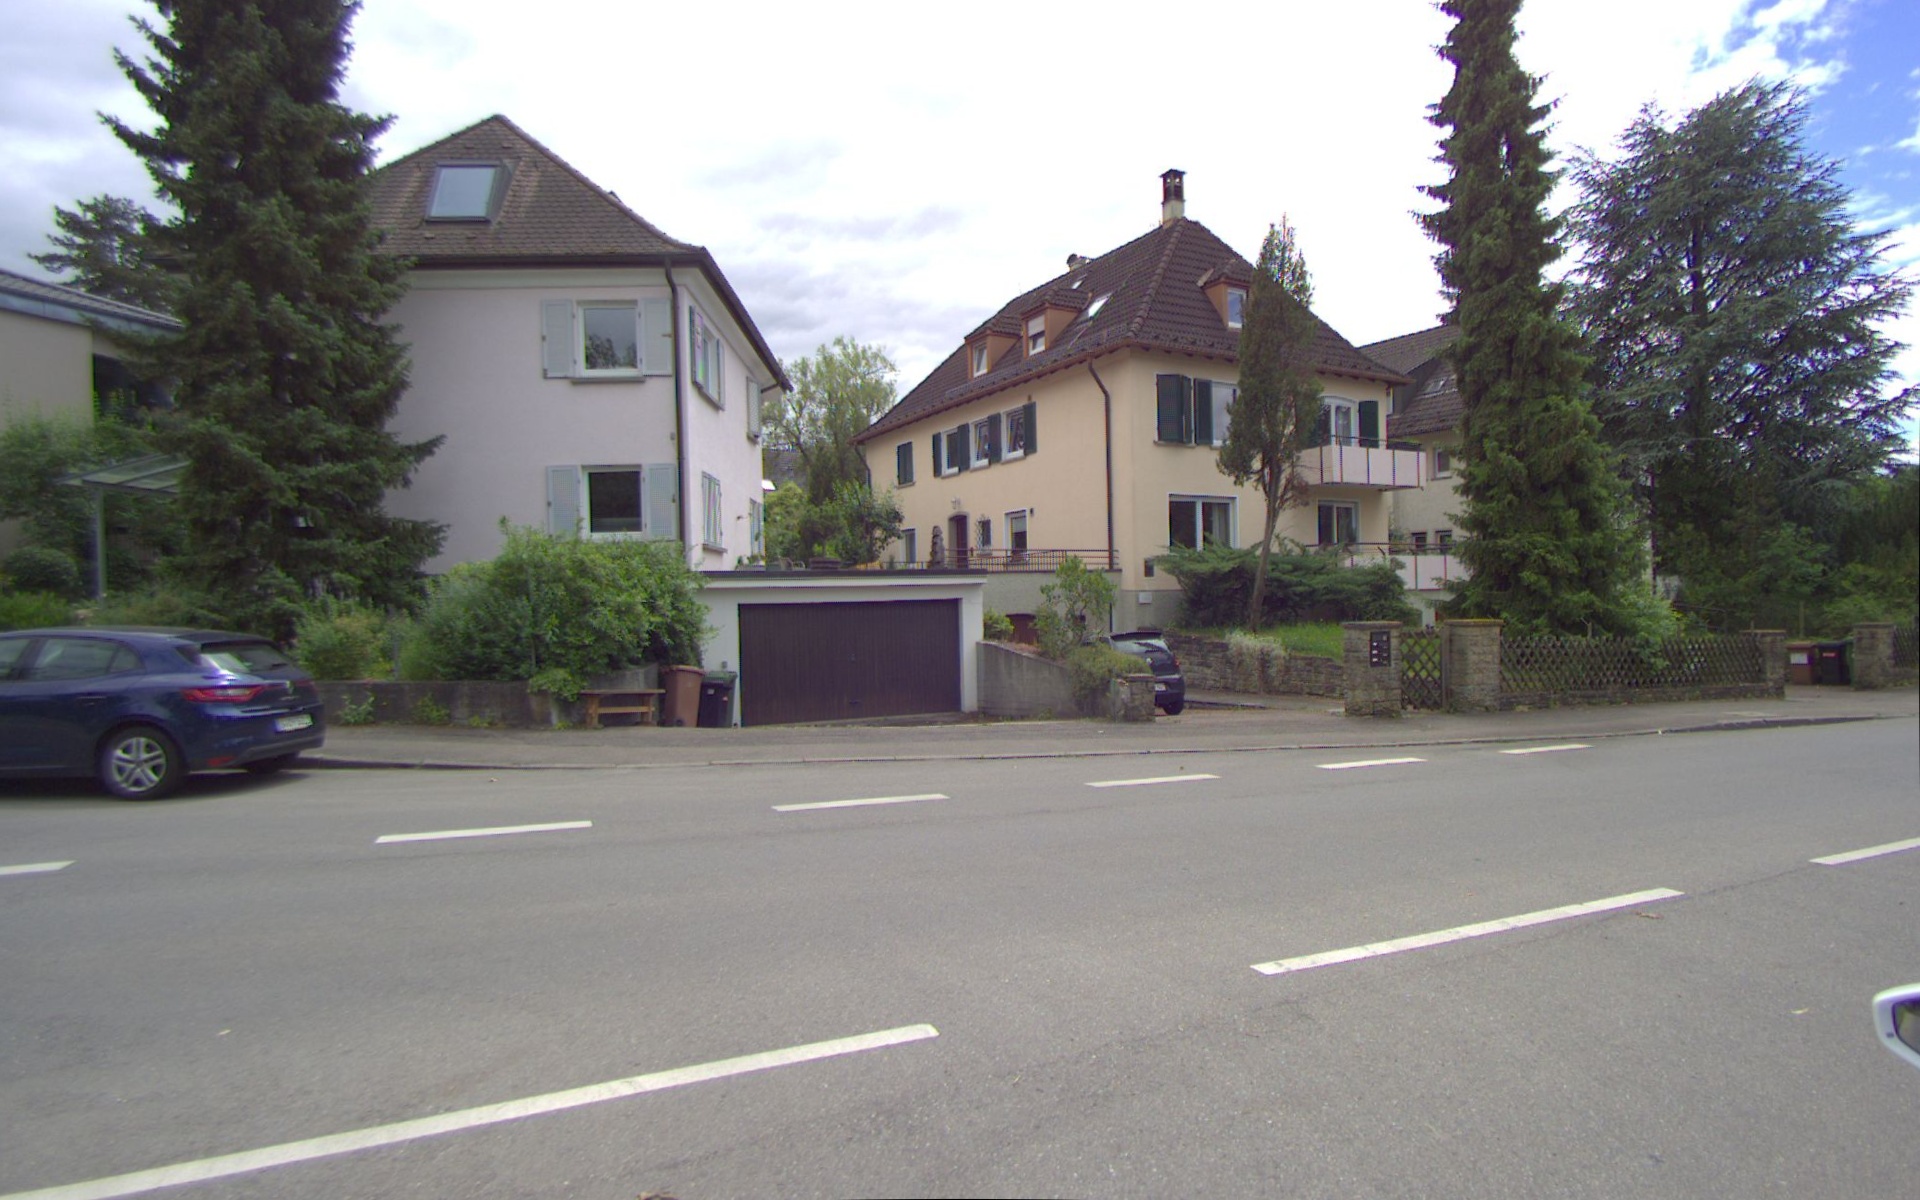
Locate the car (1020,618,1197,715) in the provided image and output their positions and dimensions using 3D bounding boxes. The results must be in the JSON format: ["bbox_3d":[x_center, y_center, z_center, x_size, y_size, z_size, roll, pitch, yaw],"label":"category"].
[{"bbox_3d":[2.645,1.271,18.680,1.802,1.557,3.352,-2,-5,-21],"label":"car"}]

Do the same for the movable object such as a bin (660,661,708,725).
[{"bbox_3d":[-3.860,1.290,14.059,0.581,0.846,0.315,0,0,-30],"label":"movable object such as a bin"}]

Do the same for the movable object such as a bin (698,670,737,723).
[{"bbox_3d":[-3.861,1.529,15.979,0.539,0.781,0.315,0,0,-30],"label":"movable object such as a bin"}]

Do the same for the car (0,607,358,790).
[{"bbox_3d":[-8.180,0.831,9.187,4.231,1.493,1.732,1,0,-3],"label":"car"}]
